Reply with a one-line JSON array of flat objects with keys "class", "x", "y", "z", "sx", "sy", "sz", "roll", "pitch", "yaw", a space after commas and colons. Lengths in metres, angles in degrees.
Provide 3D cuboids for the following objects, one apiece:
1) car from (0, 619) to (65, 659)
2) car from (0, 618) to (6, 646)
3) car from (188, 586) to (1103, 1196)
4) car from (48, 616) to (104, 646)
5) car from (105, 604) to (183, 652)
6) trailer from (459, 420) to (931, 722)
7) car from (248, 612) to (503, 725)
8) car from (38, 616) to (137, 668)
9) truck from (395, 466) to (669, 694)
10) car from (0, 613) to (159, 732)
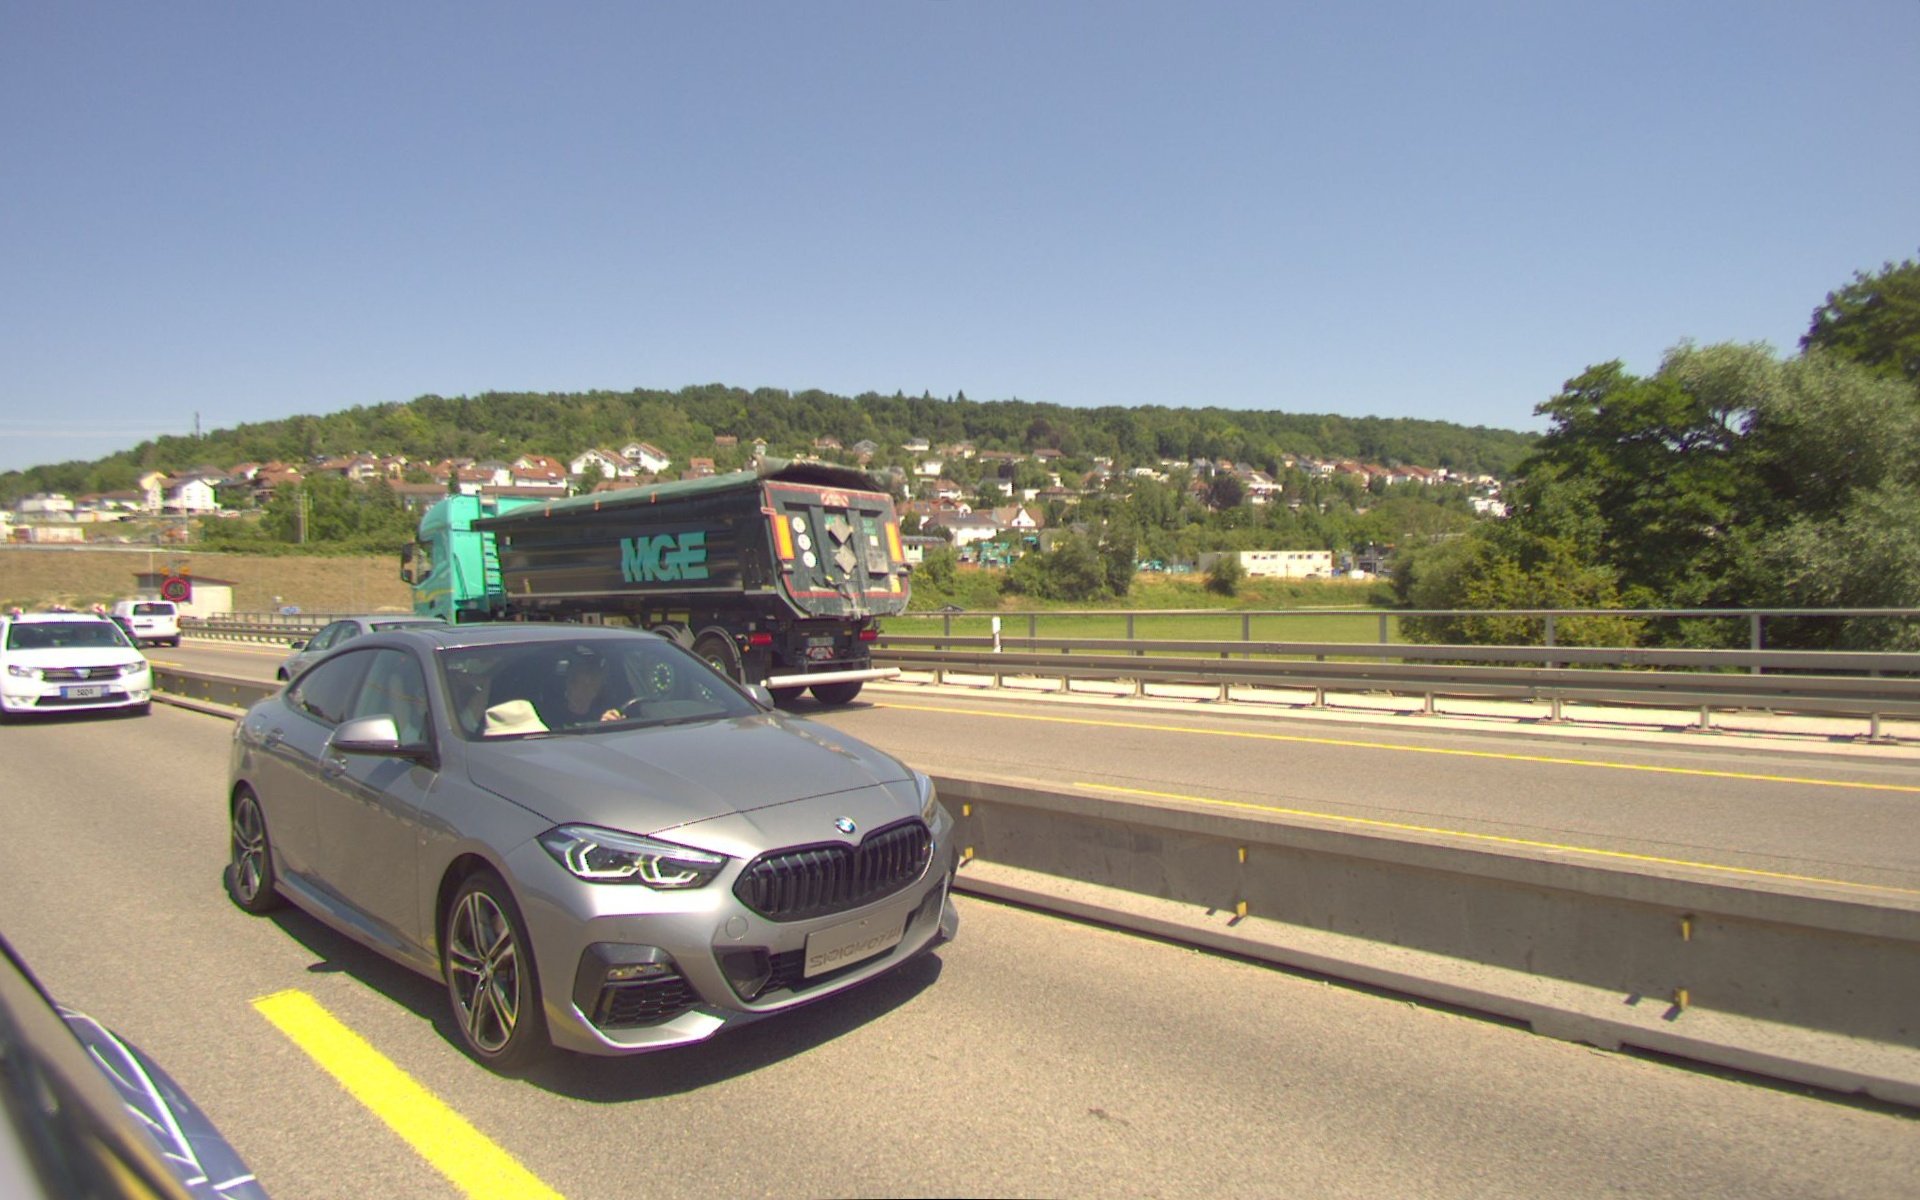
[{"class": "car", "x": -35.367, "y": 1.457, "z": 38.339, "sx": 4.154, "sy": 1.402, "sz": 1.661, "roll": -1, "pitch": -2, "yaw": 41}, {"class": "car", "x": -51.218, "y": 1.644, "z": 52.714, "sx": 4.655, "sy": 1.429, "sz": 1.806, "roll": -1, "pitch": -2, "yaw": 42}, {"class": "car", "x": -1.848, "y": 0.747, "z": 4.691, "sx": 4.739, "sy": 1.463, "sz": 1.833, "roll": -2, "pitch": -1, "yaw": 41}, {"class": "car", "x": -49.556, "y": 1.716, "z": 56.726, "sx": 3.997, "sy": 1.581, "sz": 1.795, "roll": -1, "pitch": -2, "yaw": 40}, {"class": "car", "x": -34.086, "y": 1.161, "z": 42.231, "sx": 4.628, "sy": 1.882, "sz": 1.839, "roll": -1, "pitch": -2, "yaw": 42}, {"class": "trailer", "x": -4.723, "y": -0.310, "z": 16.361, "sx": 8.950, "sy": 3.700, "sz": 2.766, "roll": -1, "pitch": -1, "yaw": 40}, {"class": "car", "x": -8.617, "y": 0.909, "z": 14.732, "sx": 4.708, "sy": 1.390, "sz": 1.762, "roll": -1, "pitch": -2, "yaw": 41}, {"class": "car", "x": -25.549, "y": 1.199, "z": 29.596, "sx": 4.101, "sy": 1.419, "sz": 1.614, "roll": -1, "pitch": -2, "yaw": 41}, {"class": "truck", "x": -8.312, "y": -0.314, "z": 19.435, "sx": 5.371, "sy": 3.750, "sz": 2.768, "roll": 0, "pitch": -1, "yaw": 41}, {"class": "car", "x": -13.792, "y": 0.995, "z": 15.407, "sx": 4.705, "sy": 1.542, "sz": 1.799, "roll": -1, "pitch": -1, "yaw": 43}]
